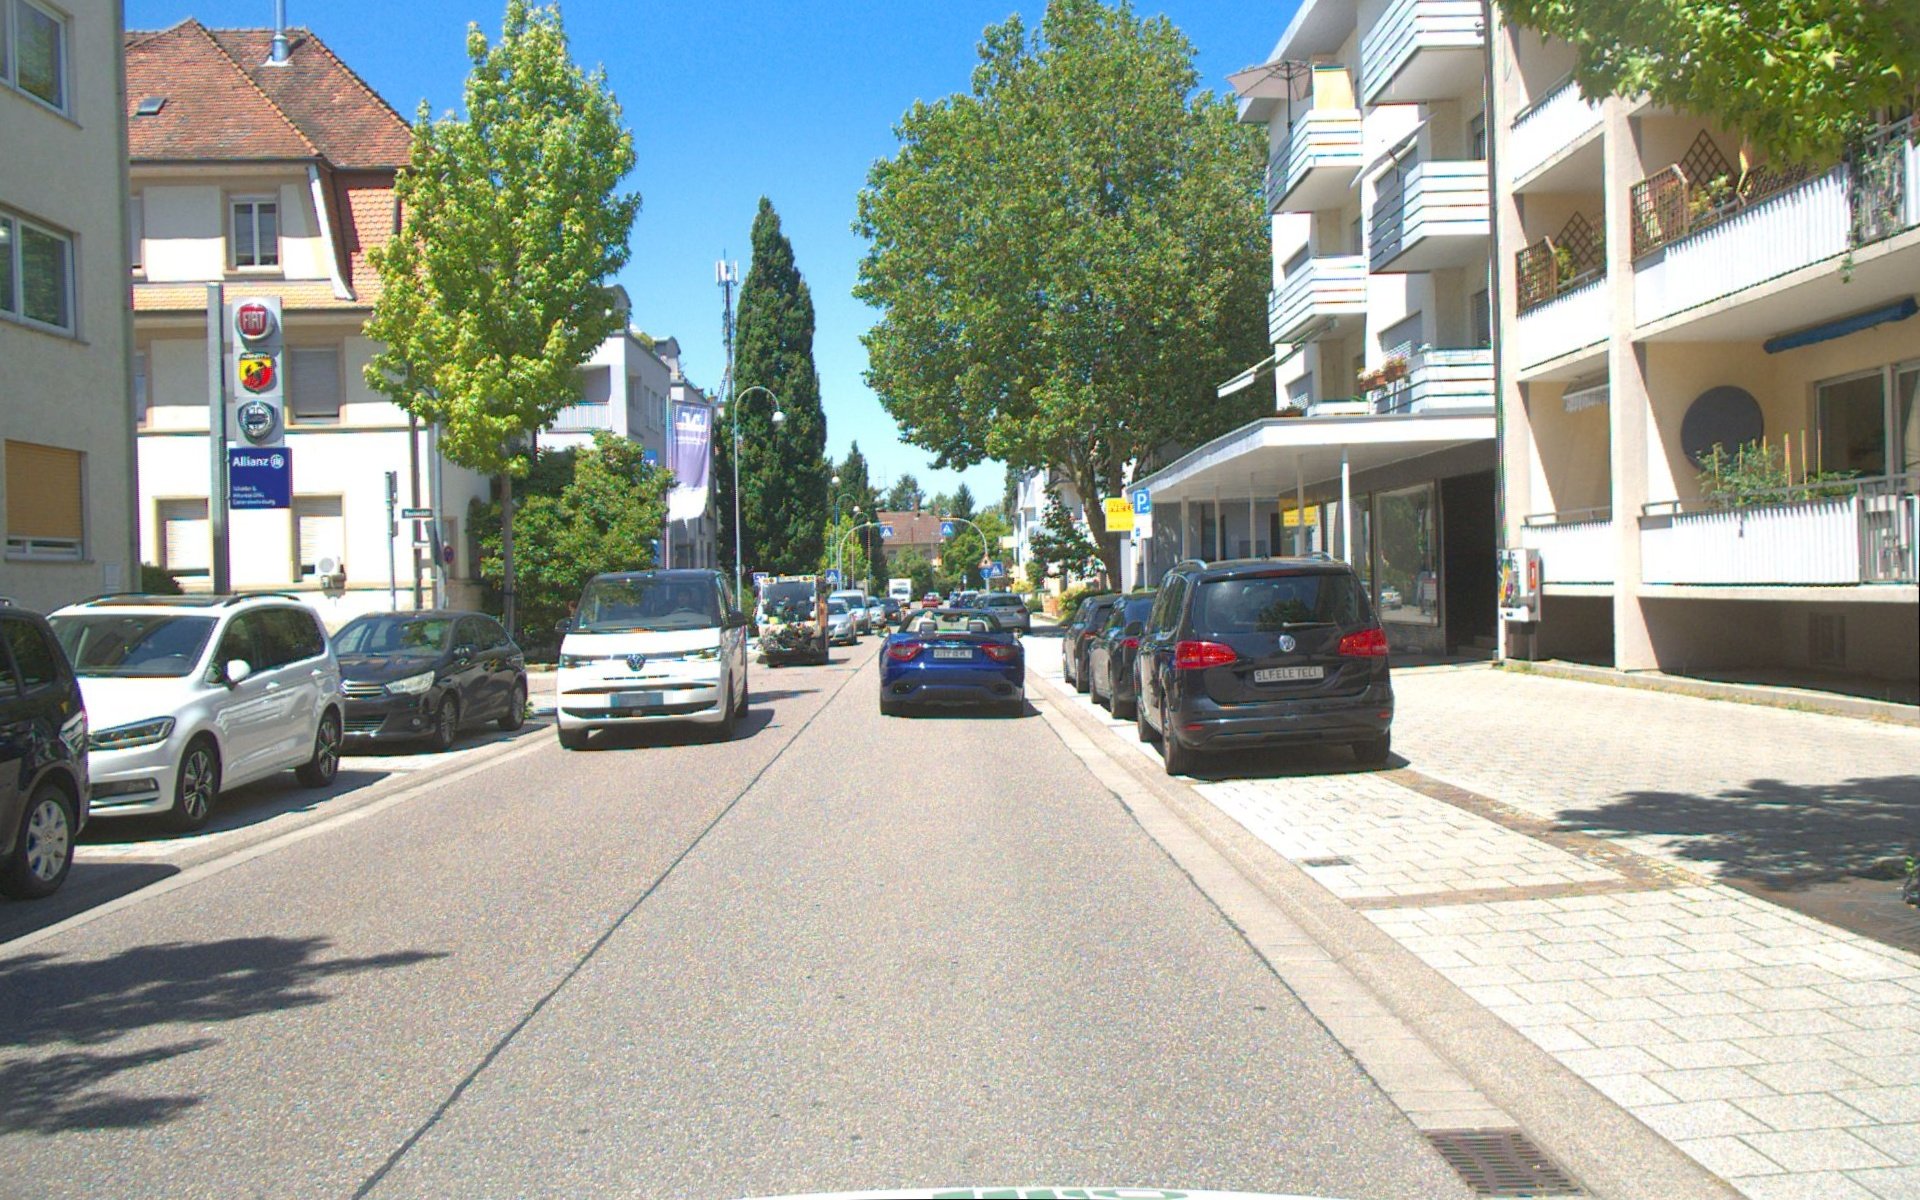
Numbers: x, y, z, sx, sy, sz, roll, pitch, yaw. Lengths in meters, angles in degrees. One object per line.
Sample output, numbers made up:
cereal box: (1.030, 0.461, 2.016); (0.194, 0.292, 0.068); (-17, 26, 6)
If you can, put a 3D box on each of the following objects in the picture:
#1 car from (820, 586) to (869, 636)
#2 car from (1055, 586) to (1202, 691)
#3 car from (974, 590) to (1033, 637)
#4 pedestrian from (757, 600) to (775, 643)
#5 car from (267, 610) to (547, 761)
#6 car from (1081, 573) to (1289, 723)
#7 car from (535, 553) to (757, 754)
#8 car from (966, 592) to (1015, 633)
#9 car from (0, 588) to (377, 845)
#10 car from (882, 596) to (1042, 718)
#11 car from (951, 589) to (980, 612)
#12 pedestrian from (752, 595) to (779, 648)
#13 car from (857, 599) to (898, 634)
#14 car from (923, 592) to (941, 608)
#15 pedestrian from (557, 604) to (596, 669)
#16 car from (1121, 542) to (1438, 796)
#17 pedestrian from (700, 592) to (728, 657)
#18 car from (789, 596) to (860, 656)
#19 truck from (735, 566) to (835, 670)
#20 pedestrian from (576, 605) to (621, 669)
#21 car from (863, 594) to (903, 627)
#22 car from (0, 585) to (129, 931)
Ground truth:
car: (-4.620, 0.411, 66.446); (1.734, 1.798, 4.136); (-3, 1, -2)
car: (2.602, 0.574, 26.484); (1.808, 1.439, 4.162); (-3, 0, -1)
car: (1.570, 0.471, 61.360); (1.936, 1.475, 4.348); (-4, 1, -1)
pedestrian: (-7.347, 0.827, 62.736); (0.575, 1.602, 0.781); (-2, 0, -2)
car: (-6.246, 0.896, 19.235); (1.718, 1.500, 4.322); (-1, 0, 1)
car: (2.690, 0.549, 20.814); (1.856, 1.556, 4.568); (-3, 0, -1)
car: (-3.534, 0.553, 19.498); (1.869, 1.956, 4.902); (-3, 0, -4)
car: (1.321, 0.531, 73.601); (1.936, 1.583, 4.348); (-4, 1, -1)
car: (-6.192, 0.751, 13.030); (1.787, 1.648, 4.390); (-1, 1, -2)
car: (-0.077, 0.683, 22.383); (1.936, 1.422, 4.625); (-1, 1, -3)
car: (0.371, -0.009, 118.284); (1.911, 1.501, 4.136); (-4, 0, -2)
pedestrian: (-7.378, 0.816, 62.793); (0.832, 1.948, 0.761); (-3, 2, -1)
car: (-3.859, 0.752, 77.532); (1.734, 1.501, 4.136); (-3, 0, -2)
car: (-2.793, -0.004, 167.127); (1.734, 1.502, 4.136); (-2, 0, -2)
pedestrian: (-8.666, 0.822, 37.366); (0.591, 1.394, 0.686); (-5, 3, -34)
car: (2.662, 0.457, 14.920); (1.953, 1.829, 4.570); (-3, 2, 1)
pedestrian: (-6.571, 0.661, 44.267); (0.618, 1.720, 0.961); (0, -2, -1)
car: (-4.319, 0.789, 53.198); (1.910, 1.534, 4.796); (-3, 3, -1)
truck: (-3.969, 0.360, 38.191); (1.768, 2.154, 4.714); (-3, 1, -1)
pedestrian: (-8.264, 0.844, 37.816); (0.765, 1.394, 0.542); (-6, 4, -42)
car: (-3.918, 0.525, 84.632); (1.911, 1.501, 4.136); (-4, 0, -2)
car: (-5.746, 0.813, 7.672); (1.694, 1.771, 4.390); (1, 0, -2)
